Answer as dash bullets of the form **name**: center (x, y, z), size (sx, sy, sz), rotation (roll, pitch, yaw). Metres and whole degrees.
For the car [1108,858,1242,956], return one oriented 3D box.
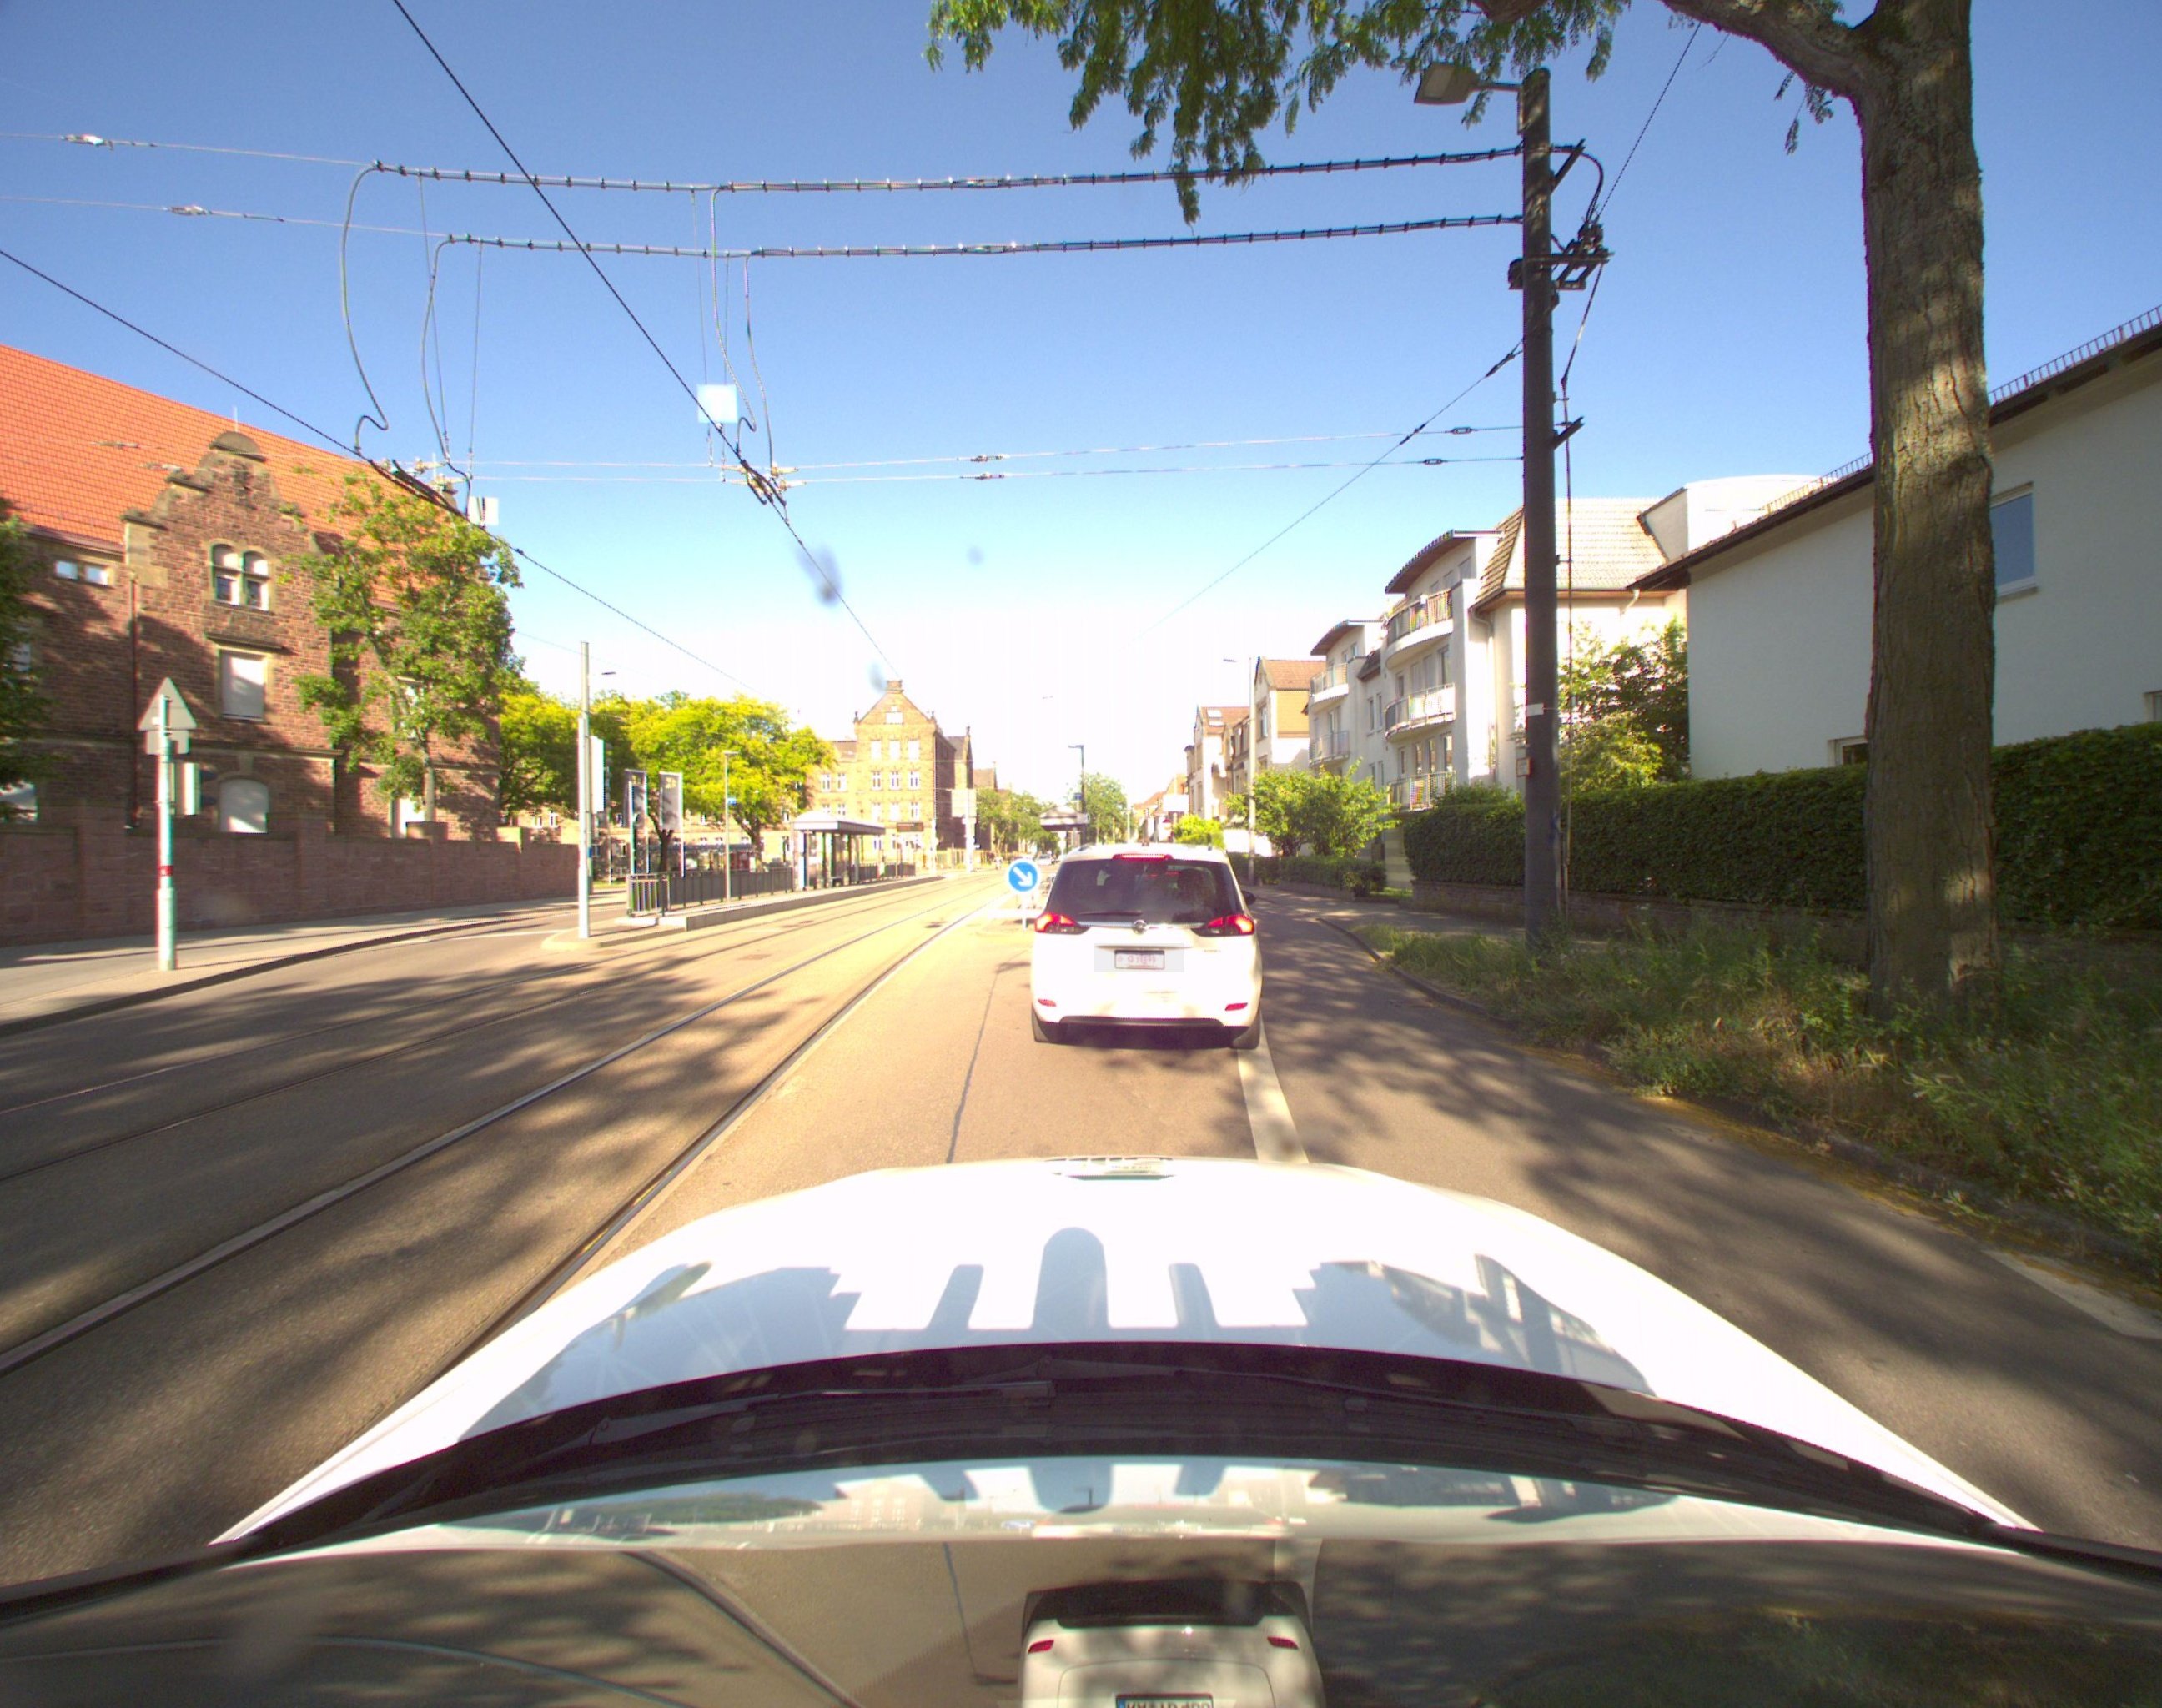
- **car**: center (1.537, 0.792, 14.062), size (1.944, 1.397, 4.005), rotation (-1, 0, 4)

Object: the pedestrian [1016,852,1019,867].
- **pedestrian**: center (-8.776, 0.790, 112.385), size (0.443, 2.013, 0.495), rotation (-1, 0, -2)

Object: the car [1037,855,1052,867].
- **car**: center (-4.822, 0.907, 107.618), size (1.989, 1.629, 3.996), rotation (-1, 0, -3)

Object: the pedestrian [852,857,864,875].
- **pedestrian**: center (-19.820, 1.035, 72.344), size (0.799, 1.588, 0.934), rotation (0, -1, -1)

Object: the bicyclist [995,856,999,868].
- **bicyclist**: center (-10.986, 0.993, 107.020), size (0.443, 1.553, 0.495), rotation (-1, 0, -2)

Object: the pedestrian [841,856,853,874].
- **pedestrian**: center (-21.480, 0.998, 74.678), size (0.799, 1.588, 0.934), rotation (0, -1, -1)

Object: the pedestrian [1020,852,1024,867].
- **pedestrian**: center (-8.175, 0.788, 112.640), size (0.443, 2.013, 0.495), rotation (-1, 0, -2)

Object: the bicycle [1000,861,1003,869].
- **bicycle**: center (-10.668, 1.478, 109.603), size (0.343, 0.950, 0.996), rotation (0, -1, -1)

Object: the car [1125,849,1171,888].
- **car**: center (2.933, 0.616, 36.247), size (1.824, 1.579, 4.012), rotation (-1, 0, 2)

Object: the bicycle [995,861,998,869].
- **bicycle**: center (-10.721, 1.429, 103.519), size (0.343, 0.950, 1.160), rotation (0, -1, -1)

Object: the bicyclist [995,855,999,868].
- **bicyclist**: center (-10.713, 0.963, 103.729), size (0.443, 1.553, 0.742), rotation (-1, 0, -2)

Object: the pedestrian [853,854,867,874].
- **pedestrian**: center (-19.196, 0.861, 70.668), size (0.892, 1.684, 1.029), rotation (0, -1, 1)

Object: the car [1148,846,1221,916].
- **car**: center (2.578, 0.640, 20.891), size (1.630, 1.601, 3.859), rotation (-1, 0, 4)

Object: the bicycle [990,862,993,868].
- **bicycle**: center (-12.686, 1.543, 115.631), size (0.343, 0.950, 0.996), rotation (0, -1, -1)

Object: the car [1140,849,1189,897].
- **car**: center (2.948, 0.639, 29.317), size (1.630, 1.601, 3.859), rotation (-1, 0, 4)

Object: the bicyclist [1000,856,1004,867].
- **bicyclist**: center (-10.669, 1.012, 109.598), size (0.443, 1.553, 0.495), rotation (-1, 0, -2)

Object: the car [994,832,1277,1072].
- **car**: center (0.650, 0.684, 7.701), size (1.982, 1.644, 4.003), rotation (0, 0, 8)

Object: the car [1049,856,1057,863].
- **car**: center (-6.839, 1.290, 197.350), size (1.989, 1.629, 3.984), rotation (-1, 0, -3)

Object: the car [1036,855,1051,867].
- **car**: center (-5.304, 0.969, 114.740), size (1.989, 1.629, 3.996), rotation (-1, 0, -3)

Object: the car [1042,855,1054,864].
- **car**: center (-5.886, 0.963, 145.844), size (1.987, 1.629, 4.000), rotation (-1, 0, 0)

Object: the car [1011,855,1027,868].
- **car**: center (-8.199, 0.939, 107.475), size (1.989, 1.629, 3.996), rotation (-1, 0, -3)

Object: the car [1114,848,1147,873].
- **car**: center (3.102, 0.392, 51.841), size (1.986, 1.503, 4.002), rotation (-1, 0, 2)

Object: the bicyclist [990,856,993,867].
- **bicyclist**: center (-12.692, 1.075, 115.597), size (0.443, 1.553, 0.495), rotation (-1, 0, -2)
